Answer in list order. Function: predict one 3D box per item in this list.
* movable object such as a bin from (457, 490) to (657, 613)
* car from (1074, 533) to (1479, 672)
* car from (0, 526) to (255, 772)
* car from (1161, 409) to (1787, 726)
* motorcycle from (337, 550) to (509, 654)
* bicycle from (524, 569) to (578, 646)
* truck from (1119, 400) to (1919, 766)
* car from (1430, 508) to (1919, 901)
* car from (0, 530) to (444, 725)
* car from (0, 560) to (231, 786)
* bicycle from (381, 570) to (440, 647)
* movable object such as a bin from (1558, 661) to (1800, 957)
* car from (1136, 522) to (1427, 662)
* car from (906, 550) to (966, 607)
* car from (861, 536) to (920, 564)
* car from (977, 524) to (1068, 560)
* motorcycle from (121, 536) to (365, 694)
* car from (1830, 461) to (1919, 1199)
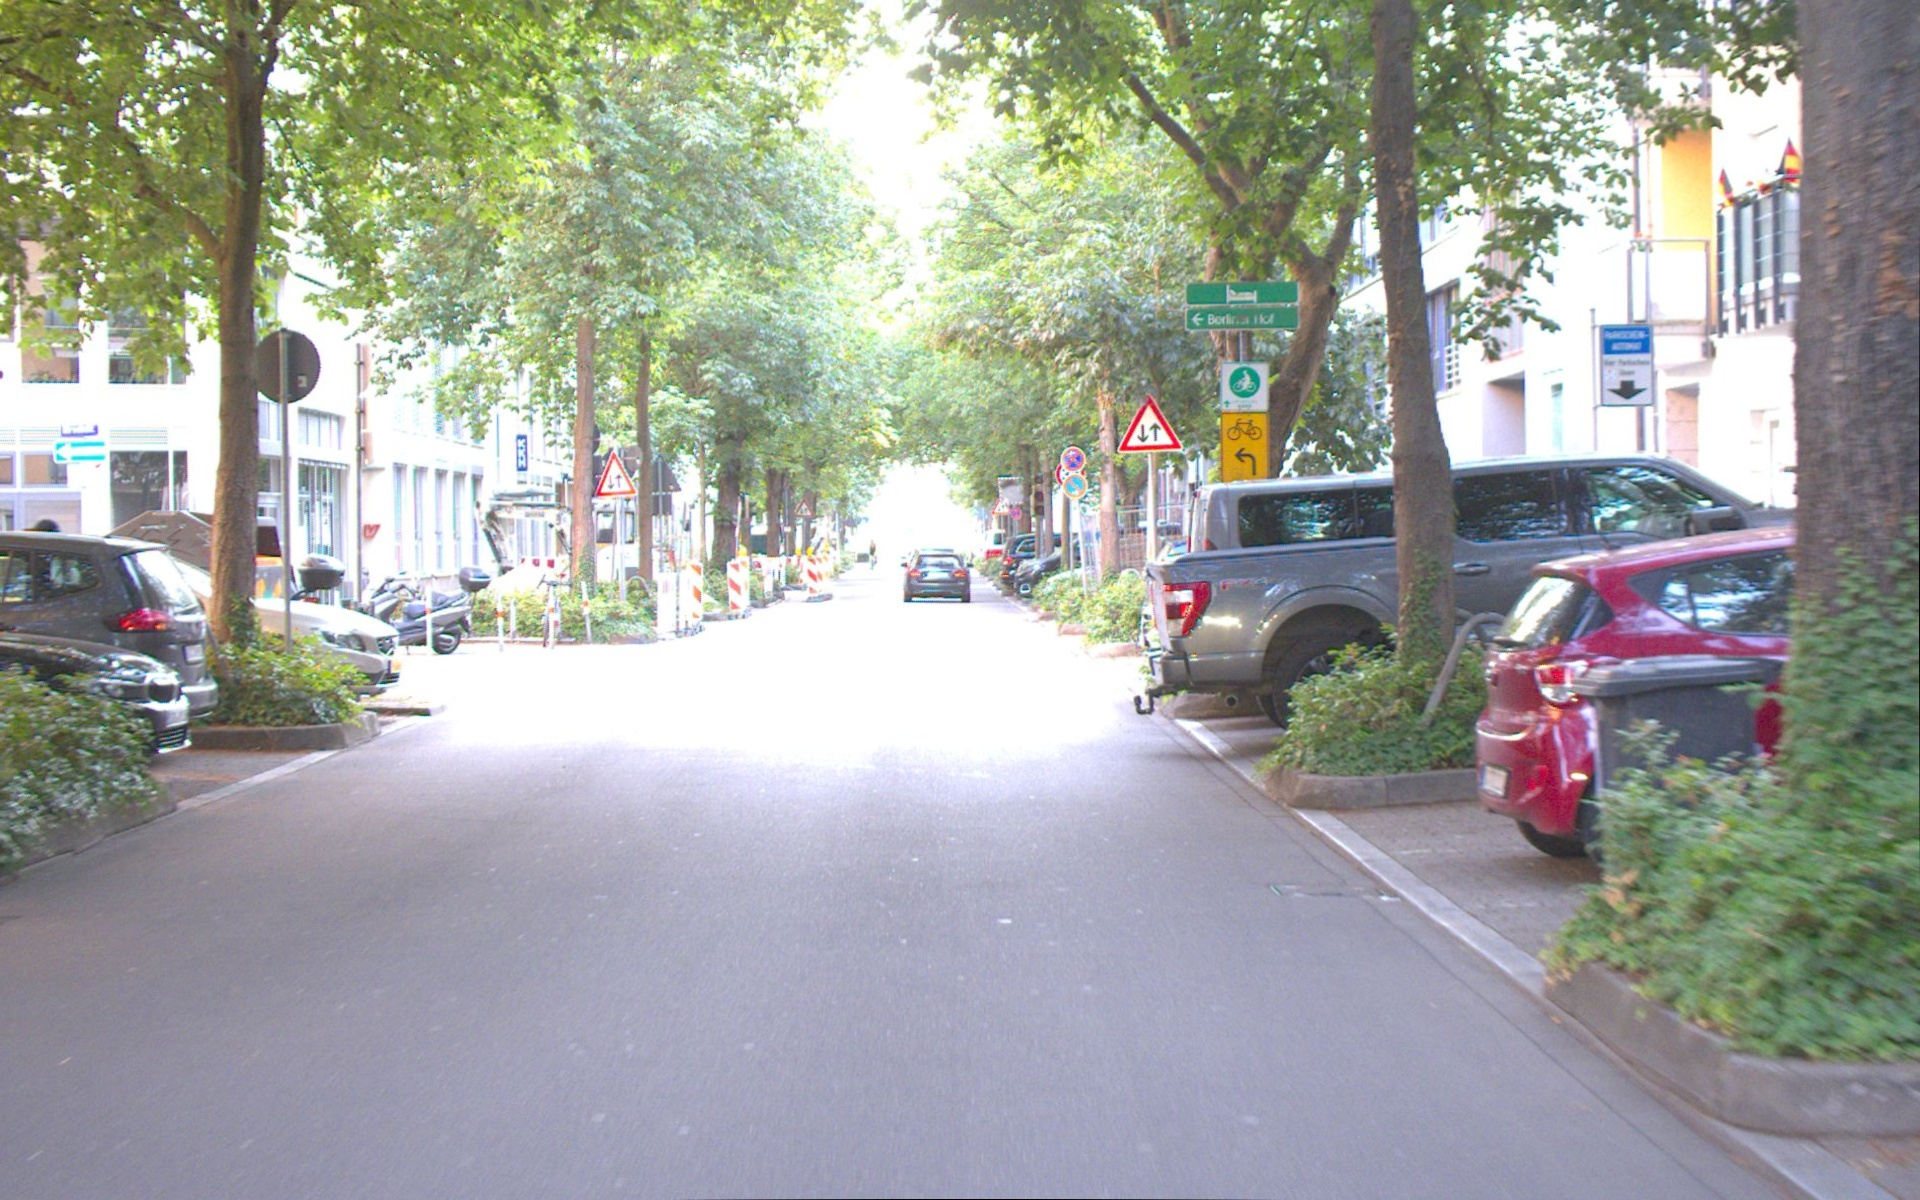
[{"bbox_3d":[-7.894,-0.959,67.666,3.665,2.325,2.584,-1,1,-2],"label":"movable object such as a bin"},{"bbox_3d":[3.620,0.008,39.605,4.278,1.503,1.873,-1,1,-11],"label":"car"},{"bbox_3d":[-7.489,0.302,24.844,4.395,1.679,2.064,1,1,-2],"label":"car"},{"bbox_3d":[4.071,-0.272,27.855,4.620,2.125,2.037,-4,1,0],"label":"car"},{"bbox_3d":[-7.751,0.012,49.678,2.373,1.436,0.801,-2,1,-40],"label":"motorcycle"},{"bbox_3d":[-6.299,0.103,53.035,0.601,1.114,1.800,-1,2,0],"label":"bicycle"},{"bbox_3d":[4.305,-0.157,25.293,6.004,2.125,2.261,-5,1,0],"label":"truck"},{"bbox_3d":[4.161,0.380,15.601,3.664,1.543,1.781,-4,0,-2],"label":"car"},{"bbox_3d":[-6.911,0.210,29.925,4.498,1.576,2.055,1,0,1],"label":"car"},{"bbox_3d":[-7.376,0.455,22.733,4.715,1.419,2.072,0,1,-2],"label":"car"},{"bbox_3d":[-8.444,0.125,52.898,0.601,1.114,1.800,-1,2,0],"label":"bicycle"},{"bbox_3d":[2.706,0.776,12.995,0.774,1.064,0.589,-1,1,-1],"label":"movable object such as a bin"},{"bbox_3d":[3.910,-0.115,42.207,3.350,1.520,1.746,-3,1,1],"label":"car"},{"bbox_3d":[-0.626,-0.579,89.711,1.500,1.411,3.714,-1,1,0],"label":"car"},{"bbox_3d":[-4.880,-3.525,241.612,3.986,1.908,1.778,-1,1,-8],"label":"car"},{"bbox_3d":[2.836,-2.651,156.171,3.986,1.592,2.000,-1,1,-3],"label":"car"},{"bbox_3d":[-6.983,0.140,33.538,2.217,1.488,0.691,-1,1,2],"label":"motorcycle"},{"bbox_3d":[4.337,0.416,7.229,4.382,1.698,1.896,-4,1,-8],"label":"car"}]
